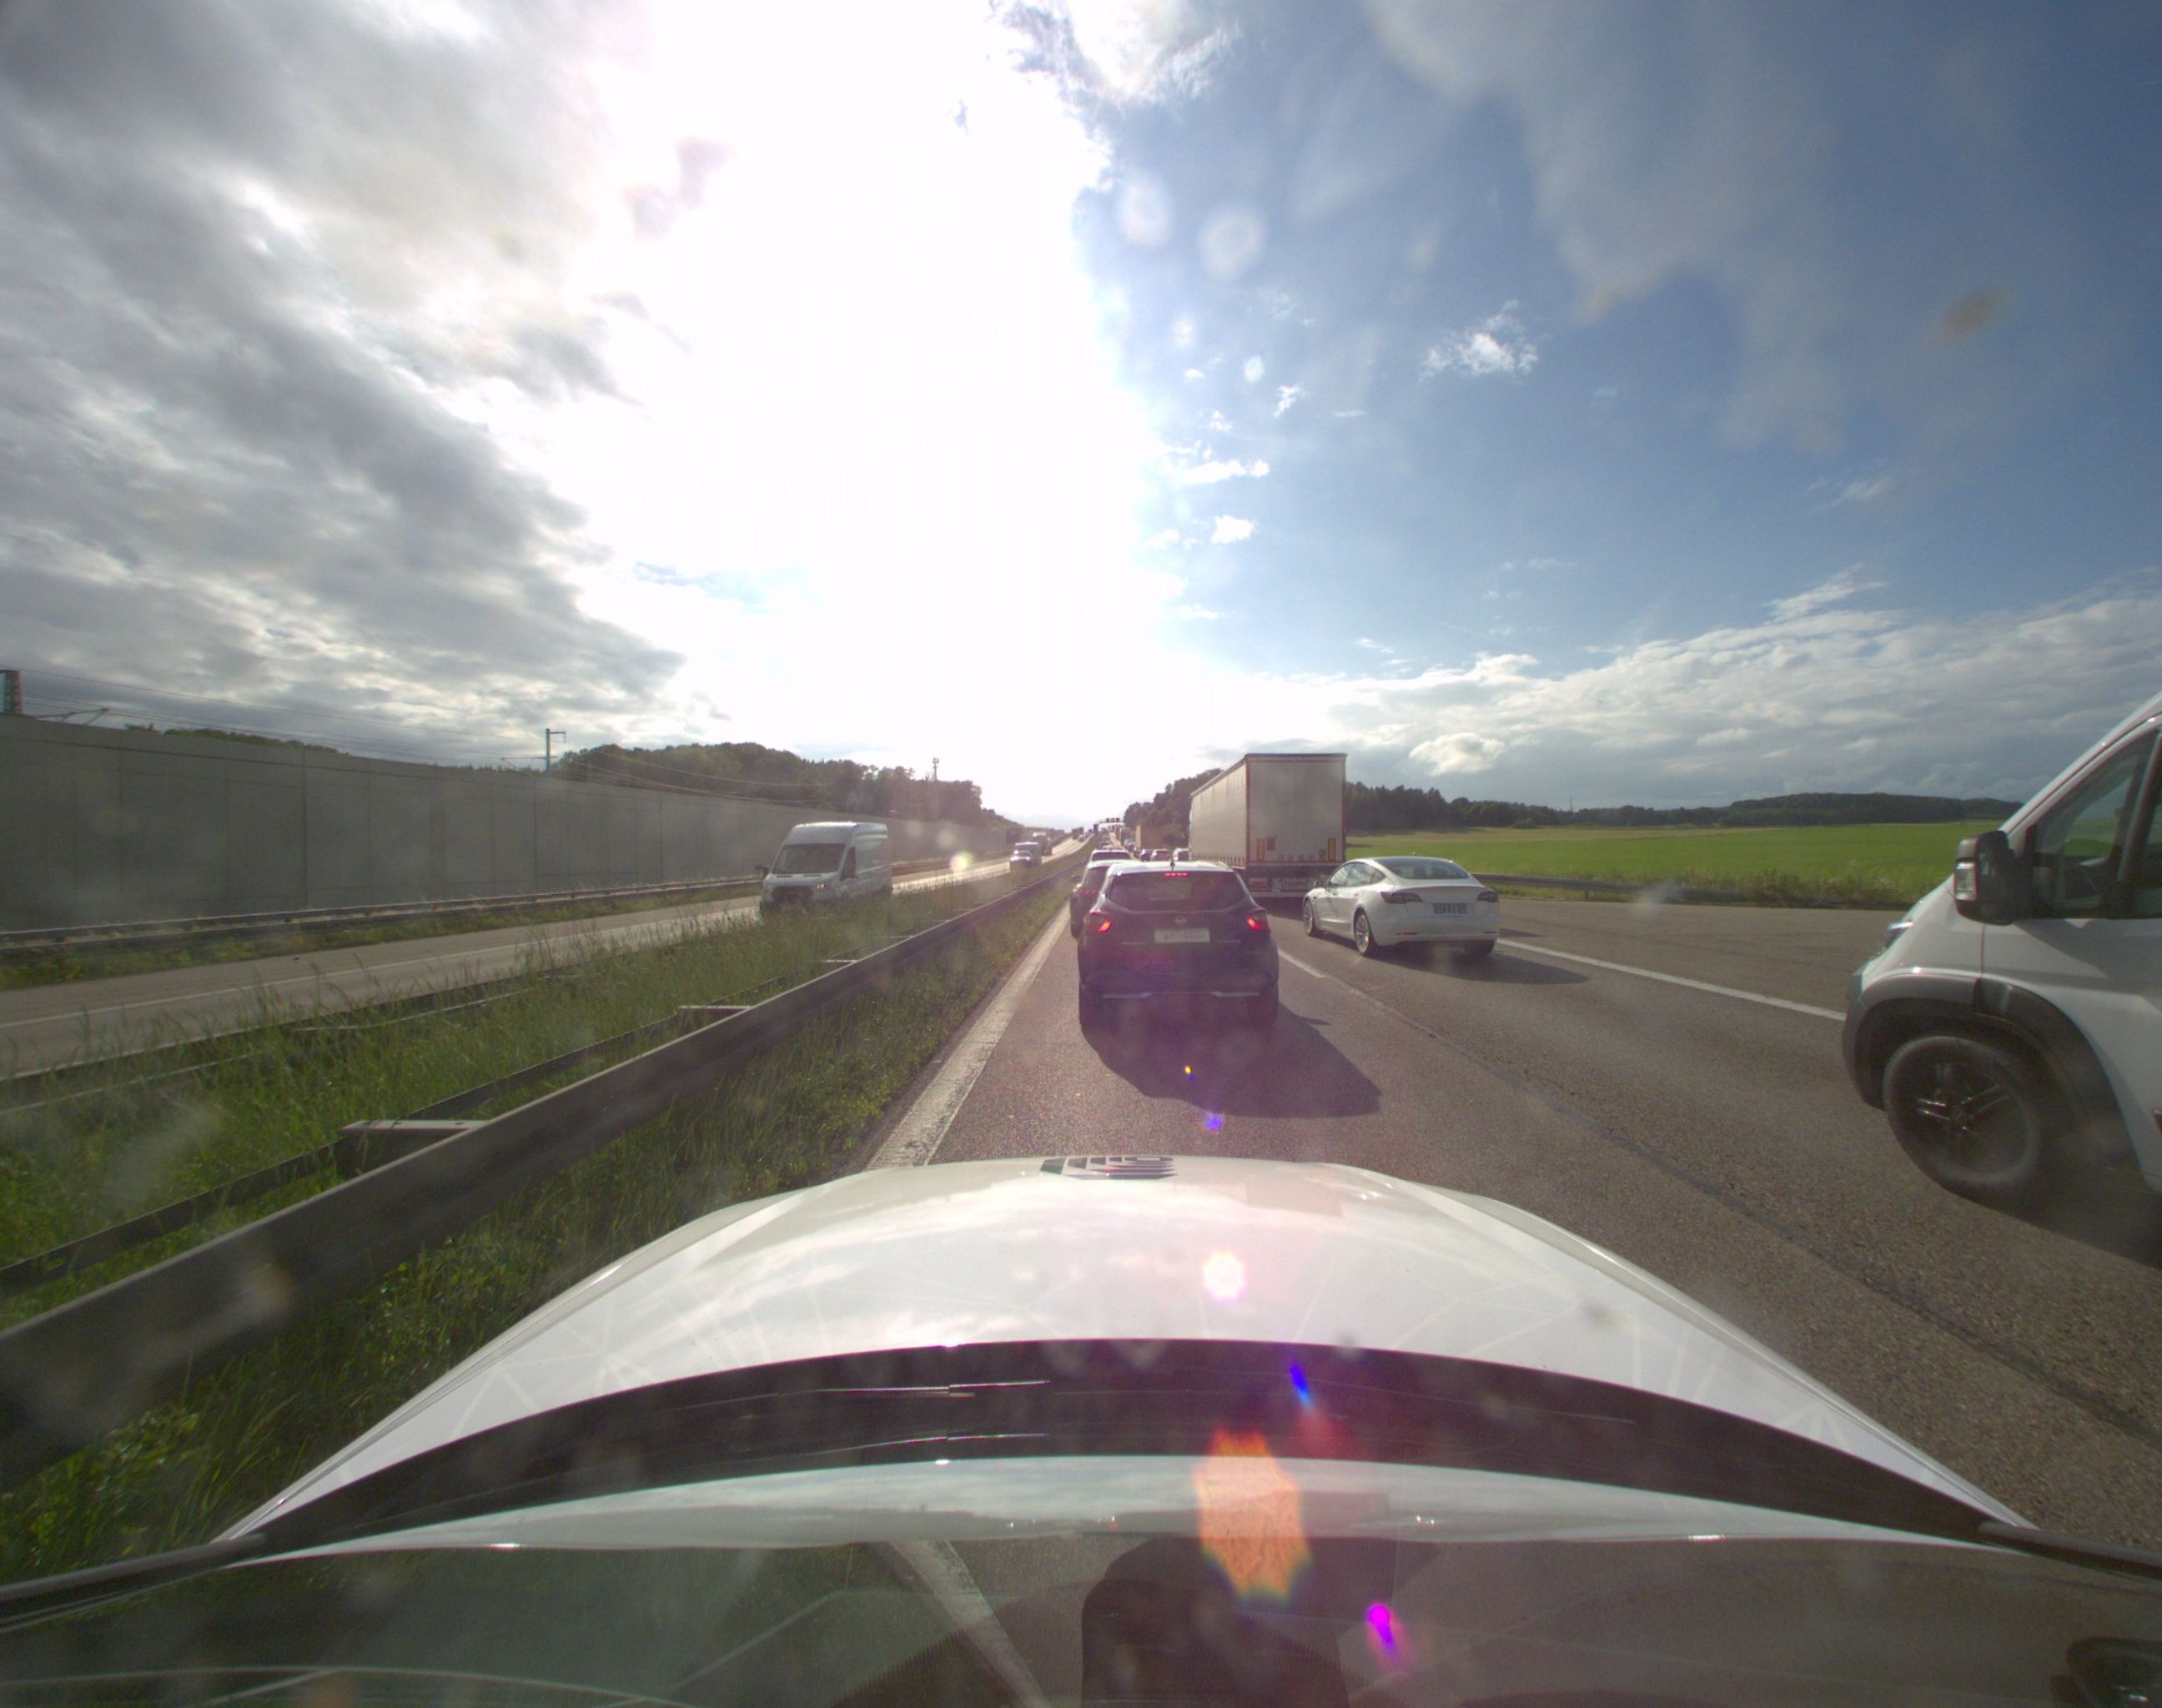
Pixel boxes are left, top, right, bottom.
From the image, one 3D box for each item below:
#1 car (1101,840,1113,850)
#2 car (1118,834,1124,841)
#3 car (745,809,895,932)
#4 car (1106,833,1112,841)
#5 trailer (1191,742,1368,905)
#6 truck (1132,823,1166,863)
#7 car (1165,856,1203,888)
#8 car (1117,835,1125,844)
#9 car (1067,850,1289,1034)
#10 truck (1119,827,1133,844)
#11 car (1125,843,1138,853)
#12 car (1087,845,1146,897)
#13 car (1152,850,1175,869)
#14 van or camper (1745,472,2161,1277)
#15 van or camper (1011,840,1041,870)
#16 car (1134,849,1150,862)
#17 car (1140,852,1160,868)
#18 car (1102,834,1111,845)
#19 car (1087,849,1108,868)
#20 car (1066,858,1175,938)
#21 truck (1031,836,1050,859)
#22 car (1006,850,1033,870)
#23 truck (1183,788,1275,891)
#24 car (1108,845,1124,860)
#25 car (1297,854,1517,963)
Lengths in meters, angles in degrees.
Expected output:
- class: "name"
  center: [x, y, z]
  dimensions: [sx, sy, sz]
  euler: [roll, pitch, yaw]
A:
- class: "car"
  center: [4.382, -1.493, 136.233]
  dimensions: [1.867, 1.644, 4.233]
  euler: [-1, 1, 1]
- class: "car"
  center: [12.509, -5.162, 255.396]
  dimensions: [1.866, 2.158, 5.214]
  euler: [-1, 3, 2]
- class: "car"
  center: [-6.890, 0.405, 22.314]
  dimensions: [2.096, 2.870, 5.637]
  euler: [-2, 0, 1]
- class: "car"
  center: [8.587, -5.268, 252.176]
  dimensions: [1.866, 2.158, 5.214]
  euler: [-1, 3, 2]
- class: "trailer"
  center: [5.830, -0.638, 26.949]
  dimensions: [3.118, 4.011, 13.373]
  euler: [-1, -1, 2]
- class: "truck"
  center: [8.238, -1.204, 100.798]
  dimensions: [3.286, 4.577, 12.440]
  euler: [0, -1, 1]
- class: "car"
  center: [5.574, 0.943, 44.481]
  dimensions: [1.691, 1.610, 4.440]
  euler: [-1, 0, 3]
- class: "car"
  center: [9.872, -3.543, 200.113]
  dimensions: [1.866, 2.158, 5.214]
  euler: [-1, 3, 2]
- class: "car"
  center: [0.859, 0.722, 8.722]
  dimensions: [1.766, 1.451, 4.234]
  euler: [-1, 0, 2]
- class: "truck"
  center: [12.415, -5.060, 225.838]
  dimensions: [3.452, 4.576, 12.442]
  euler: [0, 1, 1]
- class: "car"
  center: [8.797, -1.102, 143.074]
  dimensions: [1.868, 1.644, 4.230]
  euler: [-1, 1, -1]
- class: "car"
  center: [1.216, 0.552, 28.196]
  dimensions: [1.866, 1.644, 4.234]
  euler: [-1, 0, 2]
- class: "car"
  center: [7.841, 0.501, 77.812]
  dimensions: [1.866, 1.644, 4.234]
  euler: [-1, 1, 2]
- class: "van or camper"
  center: [4.668, 0.046, 1.234]
  dimensions: [2.207, 2.681, 6.334]
  euler: [-1, 0, 1]
- class: "van or camper"
  center: [-5.291, 0.118, 79.104]
  dimensions: [2.244, 2.704, 7.172]
  euler: [-1, 0, 1]
- class: "car"
  center: [8.393, 0.177, 111.762]
  dimensions: [1.867, 1.644, 4.231]
  euler: [-1, 0, 0]
- class: "car"
  center: [7.359, 0.606, 87.286]
  dimensions: [1.866, 1.644, 4.234]
  euler: [-1, 0, 2]
- class: "car"
  center: [5.583, -3.200, 179.820]
  dimensions: [1.866, 2.158, 5.214]
  euler: [-1, 3, 2]
- class: "car"
  center: [1.612, 0.372, 77.503]
  dimensions: [1.866, 1.644, 4.234]
  euler: [-1, 1, 2]
- class: "car"
  center: [0.769, 0.774, 16.341]
  dimensions: [1.866, 1.358, 4.234]
  euler: [-1, 0, 2]
- class: "truck"
  center: [-7.031, -1.090, 141.760]
  dimensions: [2.573, 3.923, 5.724]
  euler: [-2, 0, 2]
- class: "car"
  center: [-5.506, 0.548, 73.320]
  dimensions: [1.903, 1.671, 4.363]
  euler: [-1, 0, 1]
- class: "truck"
  center: [6.155, -0.524, 34.610]
  dimensions: [3.121, 4.016, 5.166]
  euler: [-1, -1, 2]
- class: "car"
  center: [4.124, -0.210, 96.010]
  dimensions: [1.866, 1.644, 4.235]
  euler: [-1, 1, 2]
- class: "car"
  center: [4.893, 0.719, 12.982]
  dimensions: [1.782, 1.394, 4.437]
  euler: [-1, 0, 1]
